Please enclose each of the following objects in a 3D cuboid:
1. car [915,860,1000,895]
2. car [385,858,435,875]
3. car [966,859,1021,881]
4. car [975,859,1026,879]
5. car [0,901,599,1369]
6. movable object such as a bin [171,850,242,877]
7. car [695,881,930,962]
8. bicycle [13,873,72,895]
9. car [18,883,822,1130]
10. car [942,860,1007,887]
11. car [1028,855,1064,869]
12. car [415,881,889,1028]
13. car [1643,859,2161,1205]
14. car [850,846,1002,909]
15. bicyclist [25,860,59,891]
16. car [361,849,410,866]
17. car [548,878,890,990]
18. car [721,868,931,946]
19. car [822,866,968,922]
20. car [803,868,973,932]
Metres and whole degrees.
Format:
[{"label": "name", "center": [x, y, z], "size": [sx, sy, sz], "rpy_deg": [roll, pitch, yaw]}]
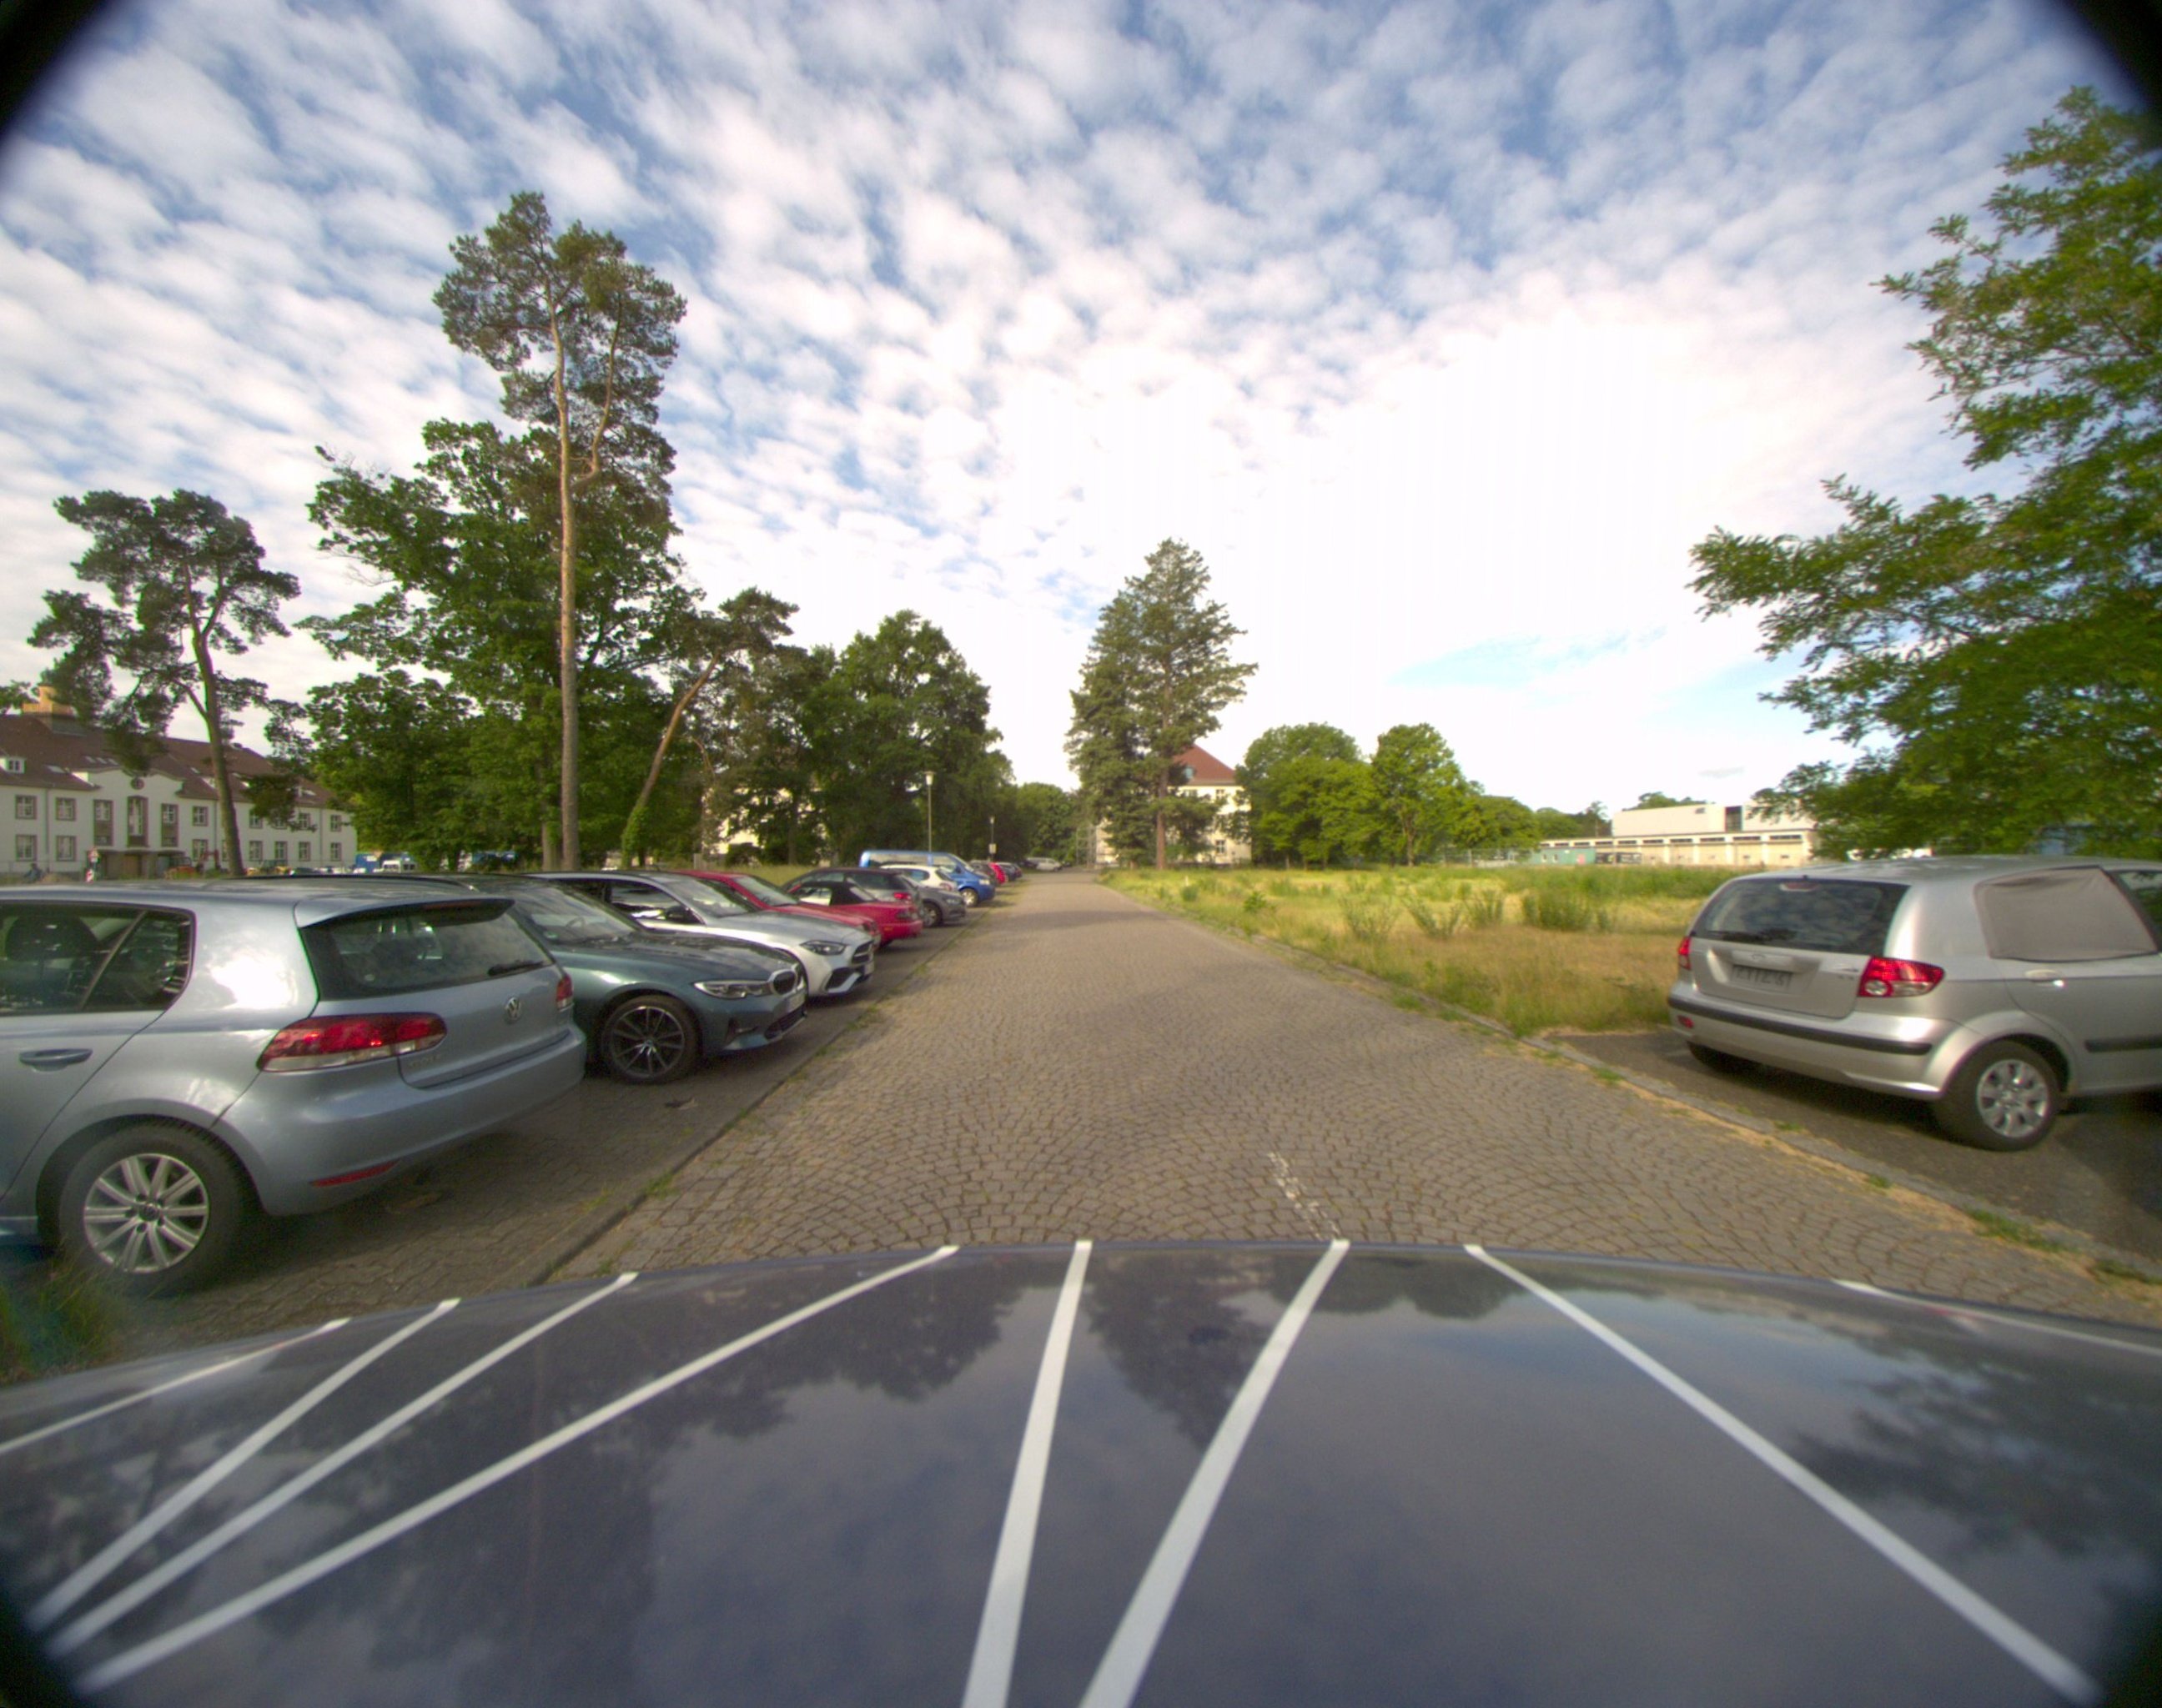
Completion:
[{"label": "car", "center": [-5.740, 1.084, 35.761], "size": [3.839, 1.592, 1.580], "rpy_deg": [0, 0, -6]}, {"label": "car", "center": [-71.223, 1.278, 80.709], "size": [1.847, 1.674, 3.937], "rpy_deg": [1, 0, 1]}, {"label": "car", "center": [-6.485, 1.164, 56.548], "size": [3.837, 1.609, 1.581], "rpy_deg": [0, 0, 2]}, {"label": "car", "center": [-6.451, 1.188, 61.308], "size": [3.837, 1.520, 1.674], "rpy_deg": [0, 0, 2]}, {"label": "car", "center": [-4.573, 1.009, 3.291], "size": [3.854, 1.462, 1.641], "rpy_deg": [0, 0, -5]}, {"label": "movable object such as a bin", "center": [-93.640, 0.998, 81.485], "size": [2.000, 2.751, 5.200], "rpy_deg": [0, 0, -7]}, {"label": "car", "center": [-4.574, 1.142, 13.316], "size": [3.556, 1.279, 1.608], "rpy_deg": [0, -1, -1]}, {"label": "bicycle", "center": [-59.194, 1.703, 43.340], "size": [0.638, 1.201, 1.981], "rpy_deg": [0, 0, 1]}, {"label": "car", "center": [-4.581, 1.016, 5.938], "size": [4.526, 1.474, 1.807], "rpy_deg": [0, 0, -5]}, {"label": "car", "center": [-6.421, 1.166, 46.088], "size": [3.839, 1.516, 1.580], "rpy_deg": [0, 0, -6]}, {"label": "car", "center": [-5.104, 1.166, 110.117], "size": [5.131, 2.002, 1.804], "rpy_deg": [0, 0, -4]}, {"label": "car", "center": [-4.561, 1.053, 8.630], "size": [4.338, 1.420, 1.766], "rpy_deg": [0, 0, -3]}, {"label": "car", "center": [5.787, 0.861, 4.613], "size": [3.587, 1.467, 1.646], "rpy_deg": [-3, 1, -5]}, {"label": "car", "center": [-5.427, 0.813, 27.124], "size": [4.955, 2.010, 2.060], "rpy_deg": [2, 0, -1]}, {"label": "bicyclist", "center": [-59.195, 1.214, 43.305], "size": [0.668, 1.724, 0.844], "rpy_deg": [-3, 1, 1]}, {"label": "car", "center": [-85.135, 0.400, 93.114], "size": [2.218, 2.002, 4.001], "rpy_deg": [0, 0, 3]}, {"label": "car", "center": [-5.035, 1.088, 11.008], "size": [4.118, 1.415, 1.719], "rpy_deg": [0, 0, -2]}, {"label": "car", "center": [-5.214, 1.069, 15.897], "size": [3.838, 1.494, 1.604], "rpy_deg": [0, 0, -3]}, {"label": "car", "center": [-5.242, 1.110, 21.703], "size": [3.762, 1.490, 1.581], "rpy_deg": [0, 0, 0]}, {"label": "car", "center": [-4.669, 1.108, 18.771], "size": [3.781, 1.457, 1.643], "rpy_deg": [0, 0, 0]}]
